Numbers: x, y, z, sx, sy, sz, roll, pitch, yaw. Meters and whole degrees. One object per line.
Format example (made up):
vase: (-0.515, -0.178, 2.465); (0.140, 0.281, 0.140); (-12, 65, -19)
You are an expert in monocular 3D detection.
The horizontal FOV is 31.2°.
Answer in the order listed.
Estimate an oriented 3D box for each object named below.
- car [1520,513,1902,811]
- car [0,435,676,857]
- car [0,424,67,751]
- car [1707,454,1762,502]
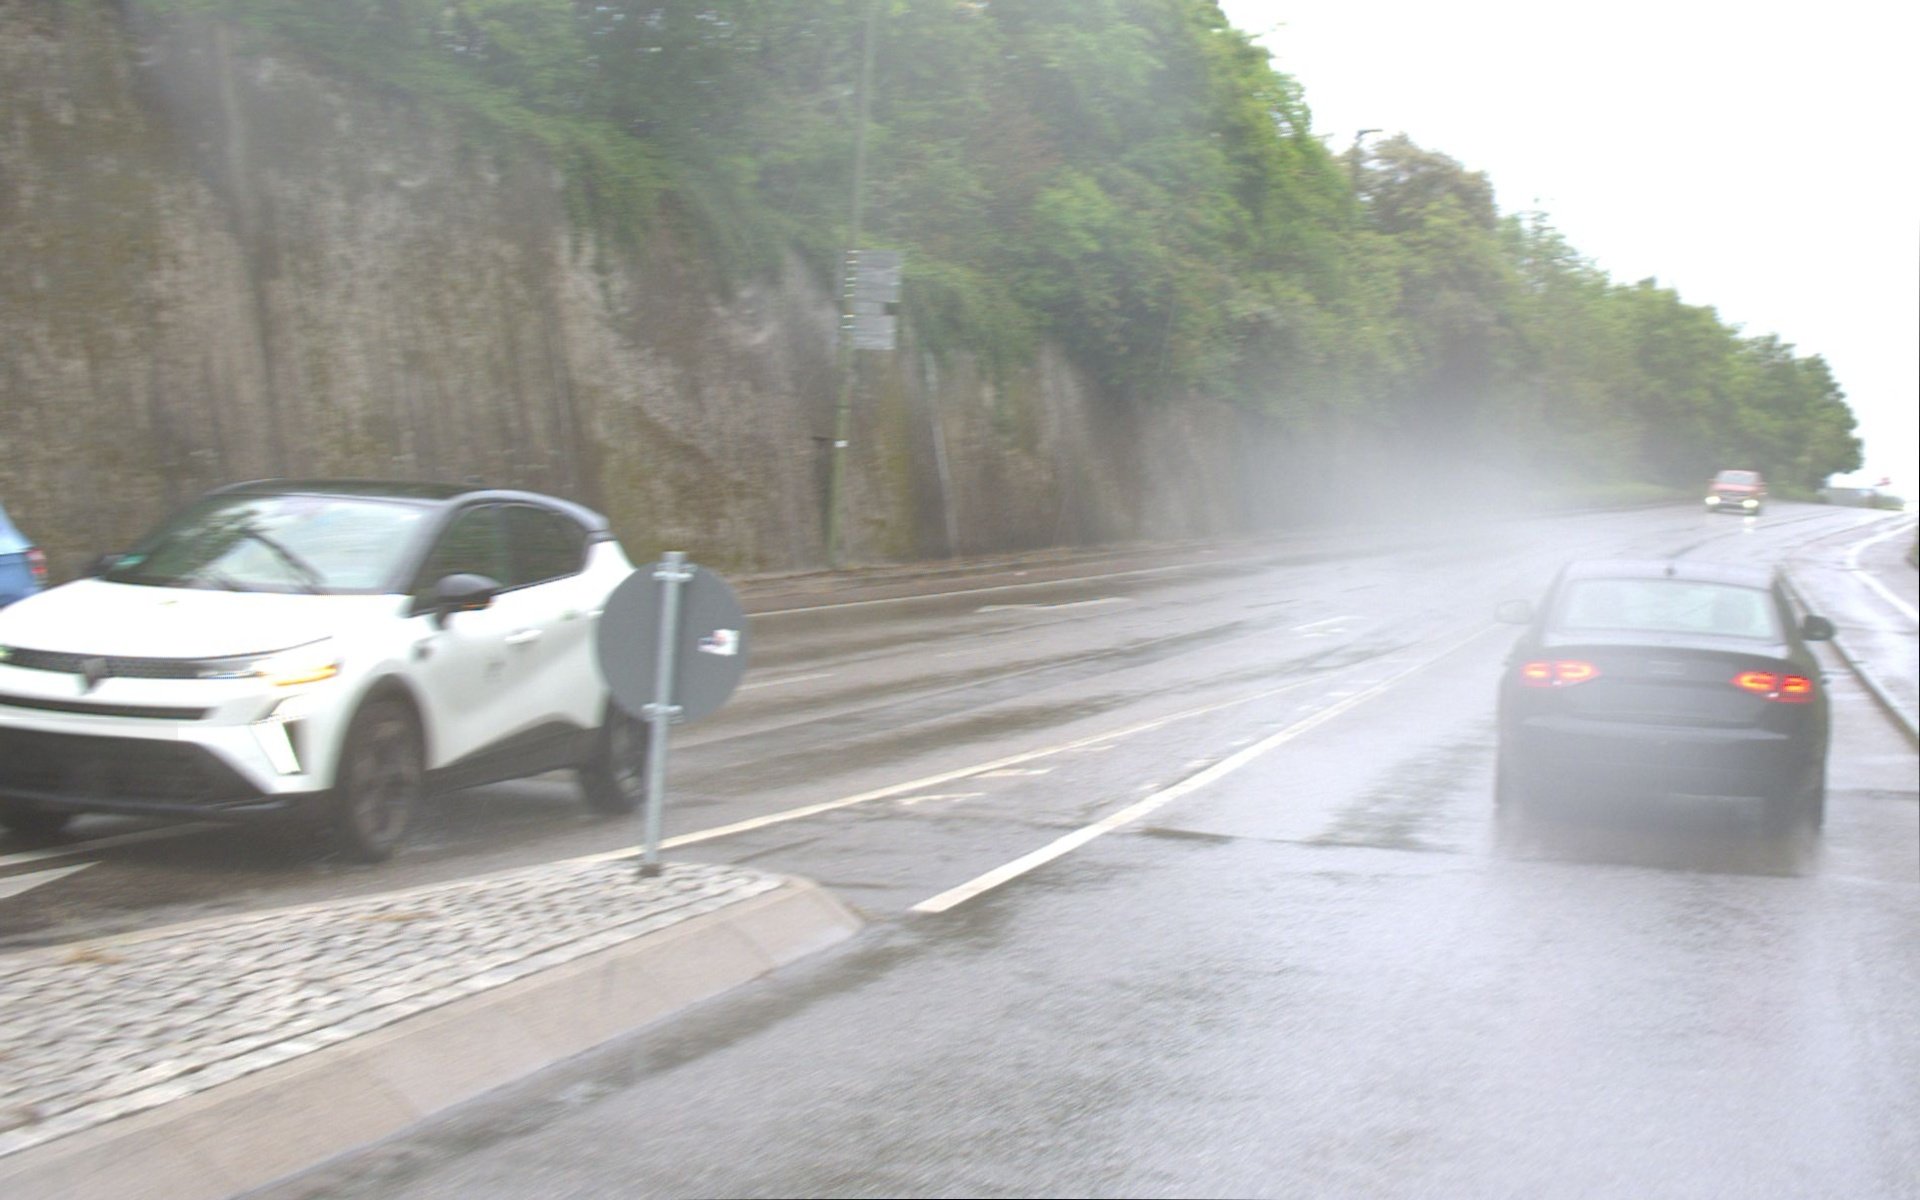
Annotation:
car: (4.320, 0.264, 19.702); (1.894, 1.487, 4.205); (1, 1, 13)
car: (-2.865, 0.120, 15.237); (1.870, 1.596, 3.997); (1, 2, 16)
car: (-6.180, -0.058, 16.306); (1.816, 1.652, 4.046); (1, 1, 19)
car: (28.402, -4.458, 125.981); (1.734, 1.612, 3.998); (4, 2, 14)
